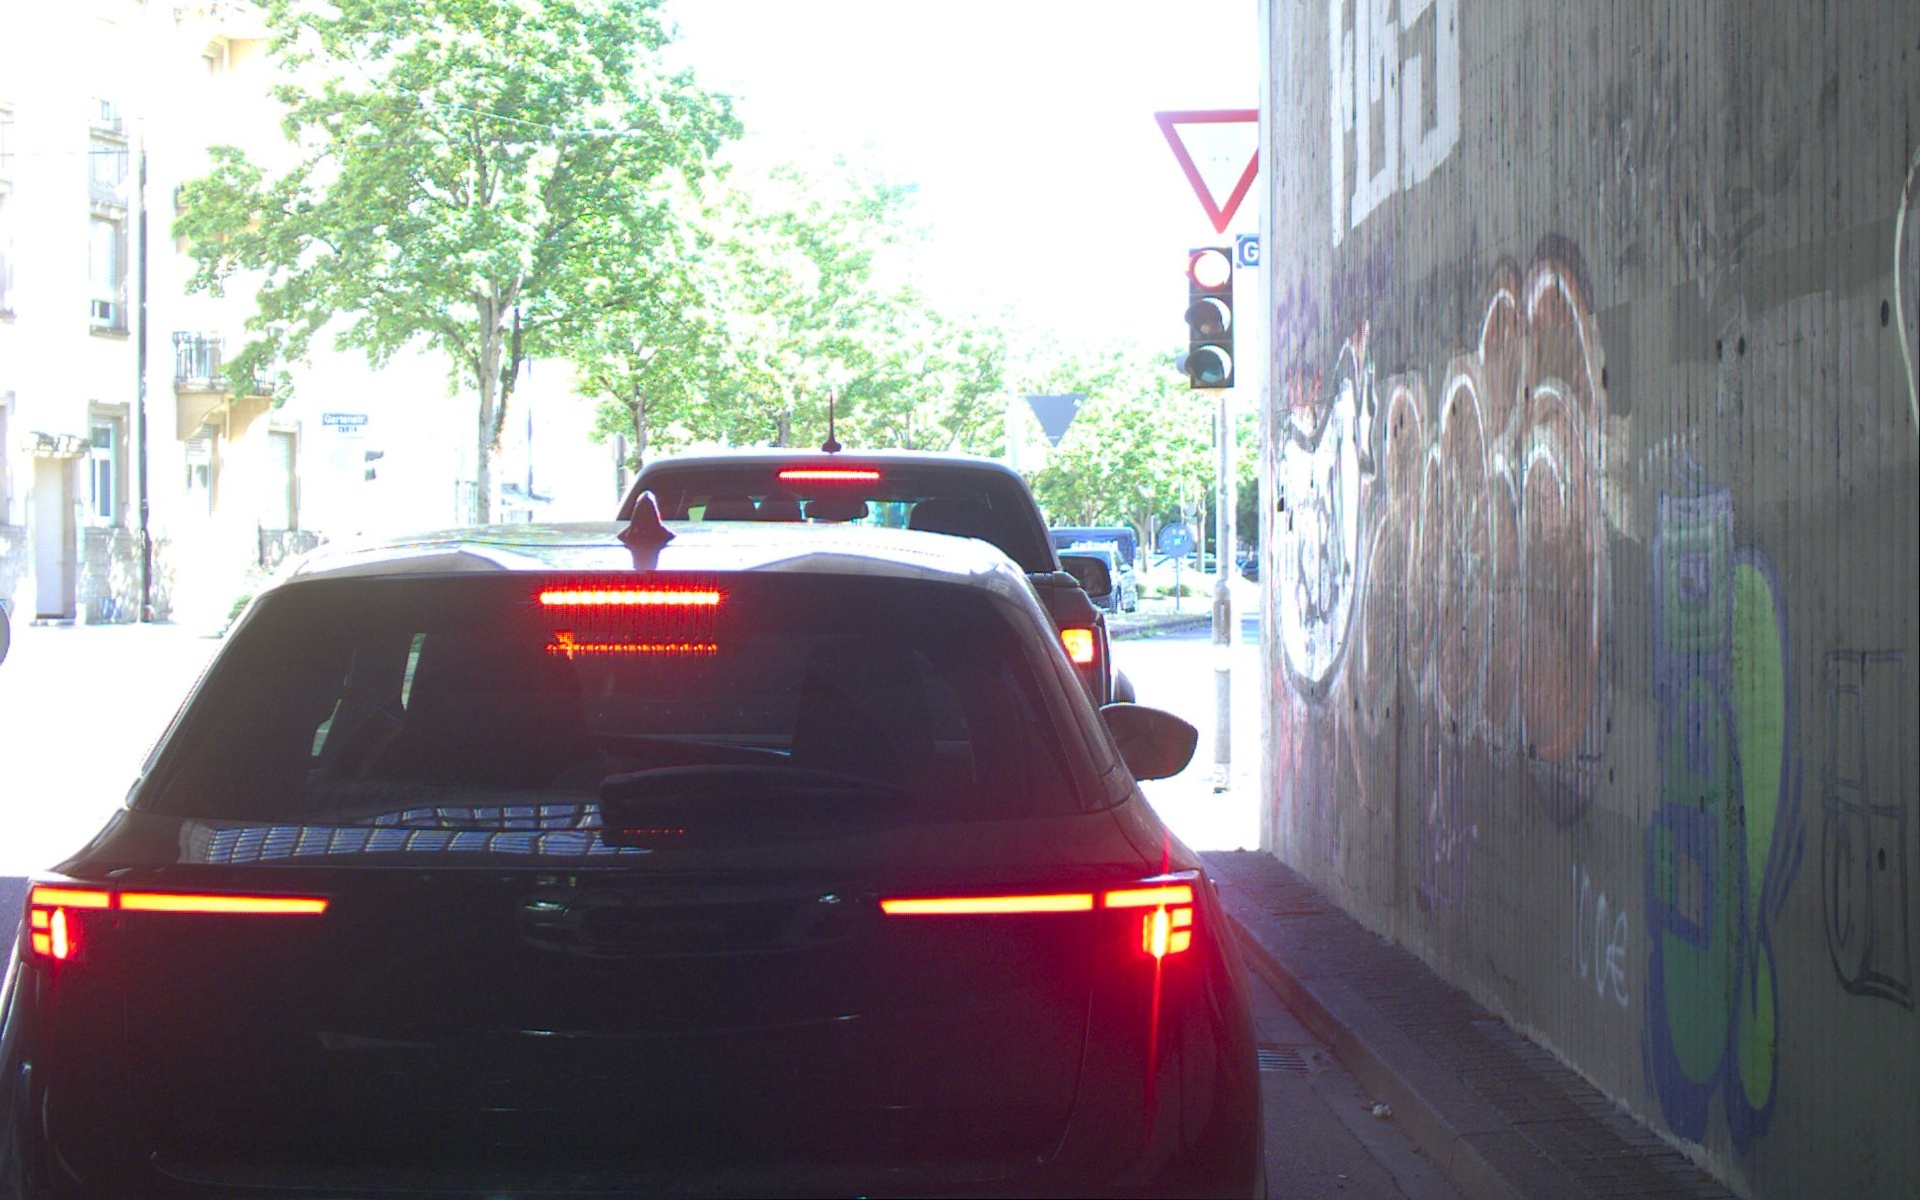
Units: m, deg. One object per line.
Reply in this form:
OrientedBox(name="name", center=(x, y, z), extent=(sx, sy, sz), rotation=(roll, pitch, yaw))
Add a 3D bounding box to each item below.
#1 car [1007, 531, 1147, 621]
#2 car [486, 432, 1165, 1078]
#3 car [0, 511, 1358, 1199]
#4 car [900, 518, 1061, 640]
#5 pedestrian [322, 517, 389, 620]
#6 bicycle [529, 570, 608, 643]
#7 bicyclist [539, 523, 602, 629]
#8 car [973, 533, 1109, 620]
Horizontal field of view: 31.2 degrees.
OrientedBox(name="car", center=(2.389, -0.452, 69.025), extent=(2.221, 1.713, 4.458), rotation=(0, -1, 9))
OrientedBox(name="car", center=(-0.409, 0.410, 11.911), extent=(1.945, 1.853, 3.964), rotation=(0, 1, -1))
OrientedBox(name="car", center=(-0.487, 0.629, 6.090), extent=(1.882, 1.532, 3.964), rotation=(0, 1, -1))
OrientedBox(name="car", center=(0.298, -0.241, 44.193), extent=(1.968, 1.492, 3.896), rotation=(0, -1, 1))
OrientedBox(name="pedestrian", center=(-11.839, -0.619, 67.333), extent=(0.992, 2.007, 1.088), rotation=(0, 1, 8))
OrientedBox(name="bicycle", center=(-5.858, 0.093, 51.534), extent=(0.732, 1.064, 1.688), rotation=(1, 1, 9))
OrientedBox(name="bicyclist", center=(-5.839, -0.363, 51.560), extent=(0.729, 1.576, 0.814), rotation=(1, 0, 9))
OrientedBox(name="car", center=(1.504, -0.396, 62.215), extent=(1.969, 1.492, 3.895), rotation=(0, -1, 9))
